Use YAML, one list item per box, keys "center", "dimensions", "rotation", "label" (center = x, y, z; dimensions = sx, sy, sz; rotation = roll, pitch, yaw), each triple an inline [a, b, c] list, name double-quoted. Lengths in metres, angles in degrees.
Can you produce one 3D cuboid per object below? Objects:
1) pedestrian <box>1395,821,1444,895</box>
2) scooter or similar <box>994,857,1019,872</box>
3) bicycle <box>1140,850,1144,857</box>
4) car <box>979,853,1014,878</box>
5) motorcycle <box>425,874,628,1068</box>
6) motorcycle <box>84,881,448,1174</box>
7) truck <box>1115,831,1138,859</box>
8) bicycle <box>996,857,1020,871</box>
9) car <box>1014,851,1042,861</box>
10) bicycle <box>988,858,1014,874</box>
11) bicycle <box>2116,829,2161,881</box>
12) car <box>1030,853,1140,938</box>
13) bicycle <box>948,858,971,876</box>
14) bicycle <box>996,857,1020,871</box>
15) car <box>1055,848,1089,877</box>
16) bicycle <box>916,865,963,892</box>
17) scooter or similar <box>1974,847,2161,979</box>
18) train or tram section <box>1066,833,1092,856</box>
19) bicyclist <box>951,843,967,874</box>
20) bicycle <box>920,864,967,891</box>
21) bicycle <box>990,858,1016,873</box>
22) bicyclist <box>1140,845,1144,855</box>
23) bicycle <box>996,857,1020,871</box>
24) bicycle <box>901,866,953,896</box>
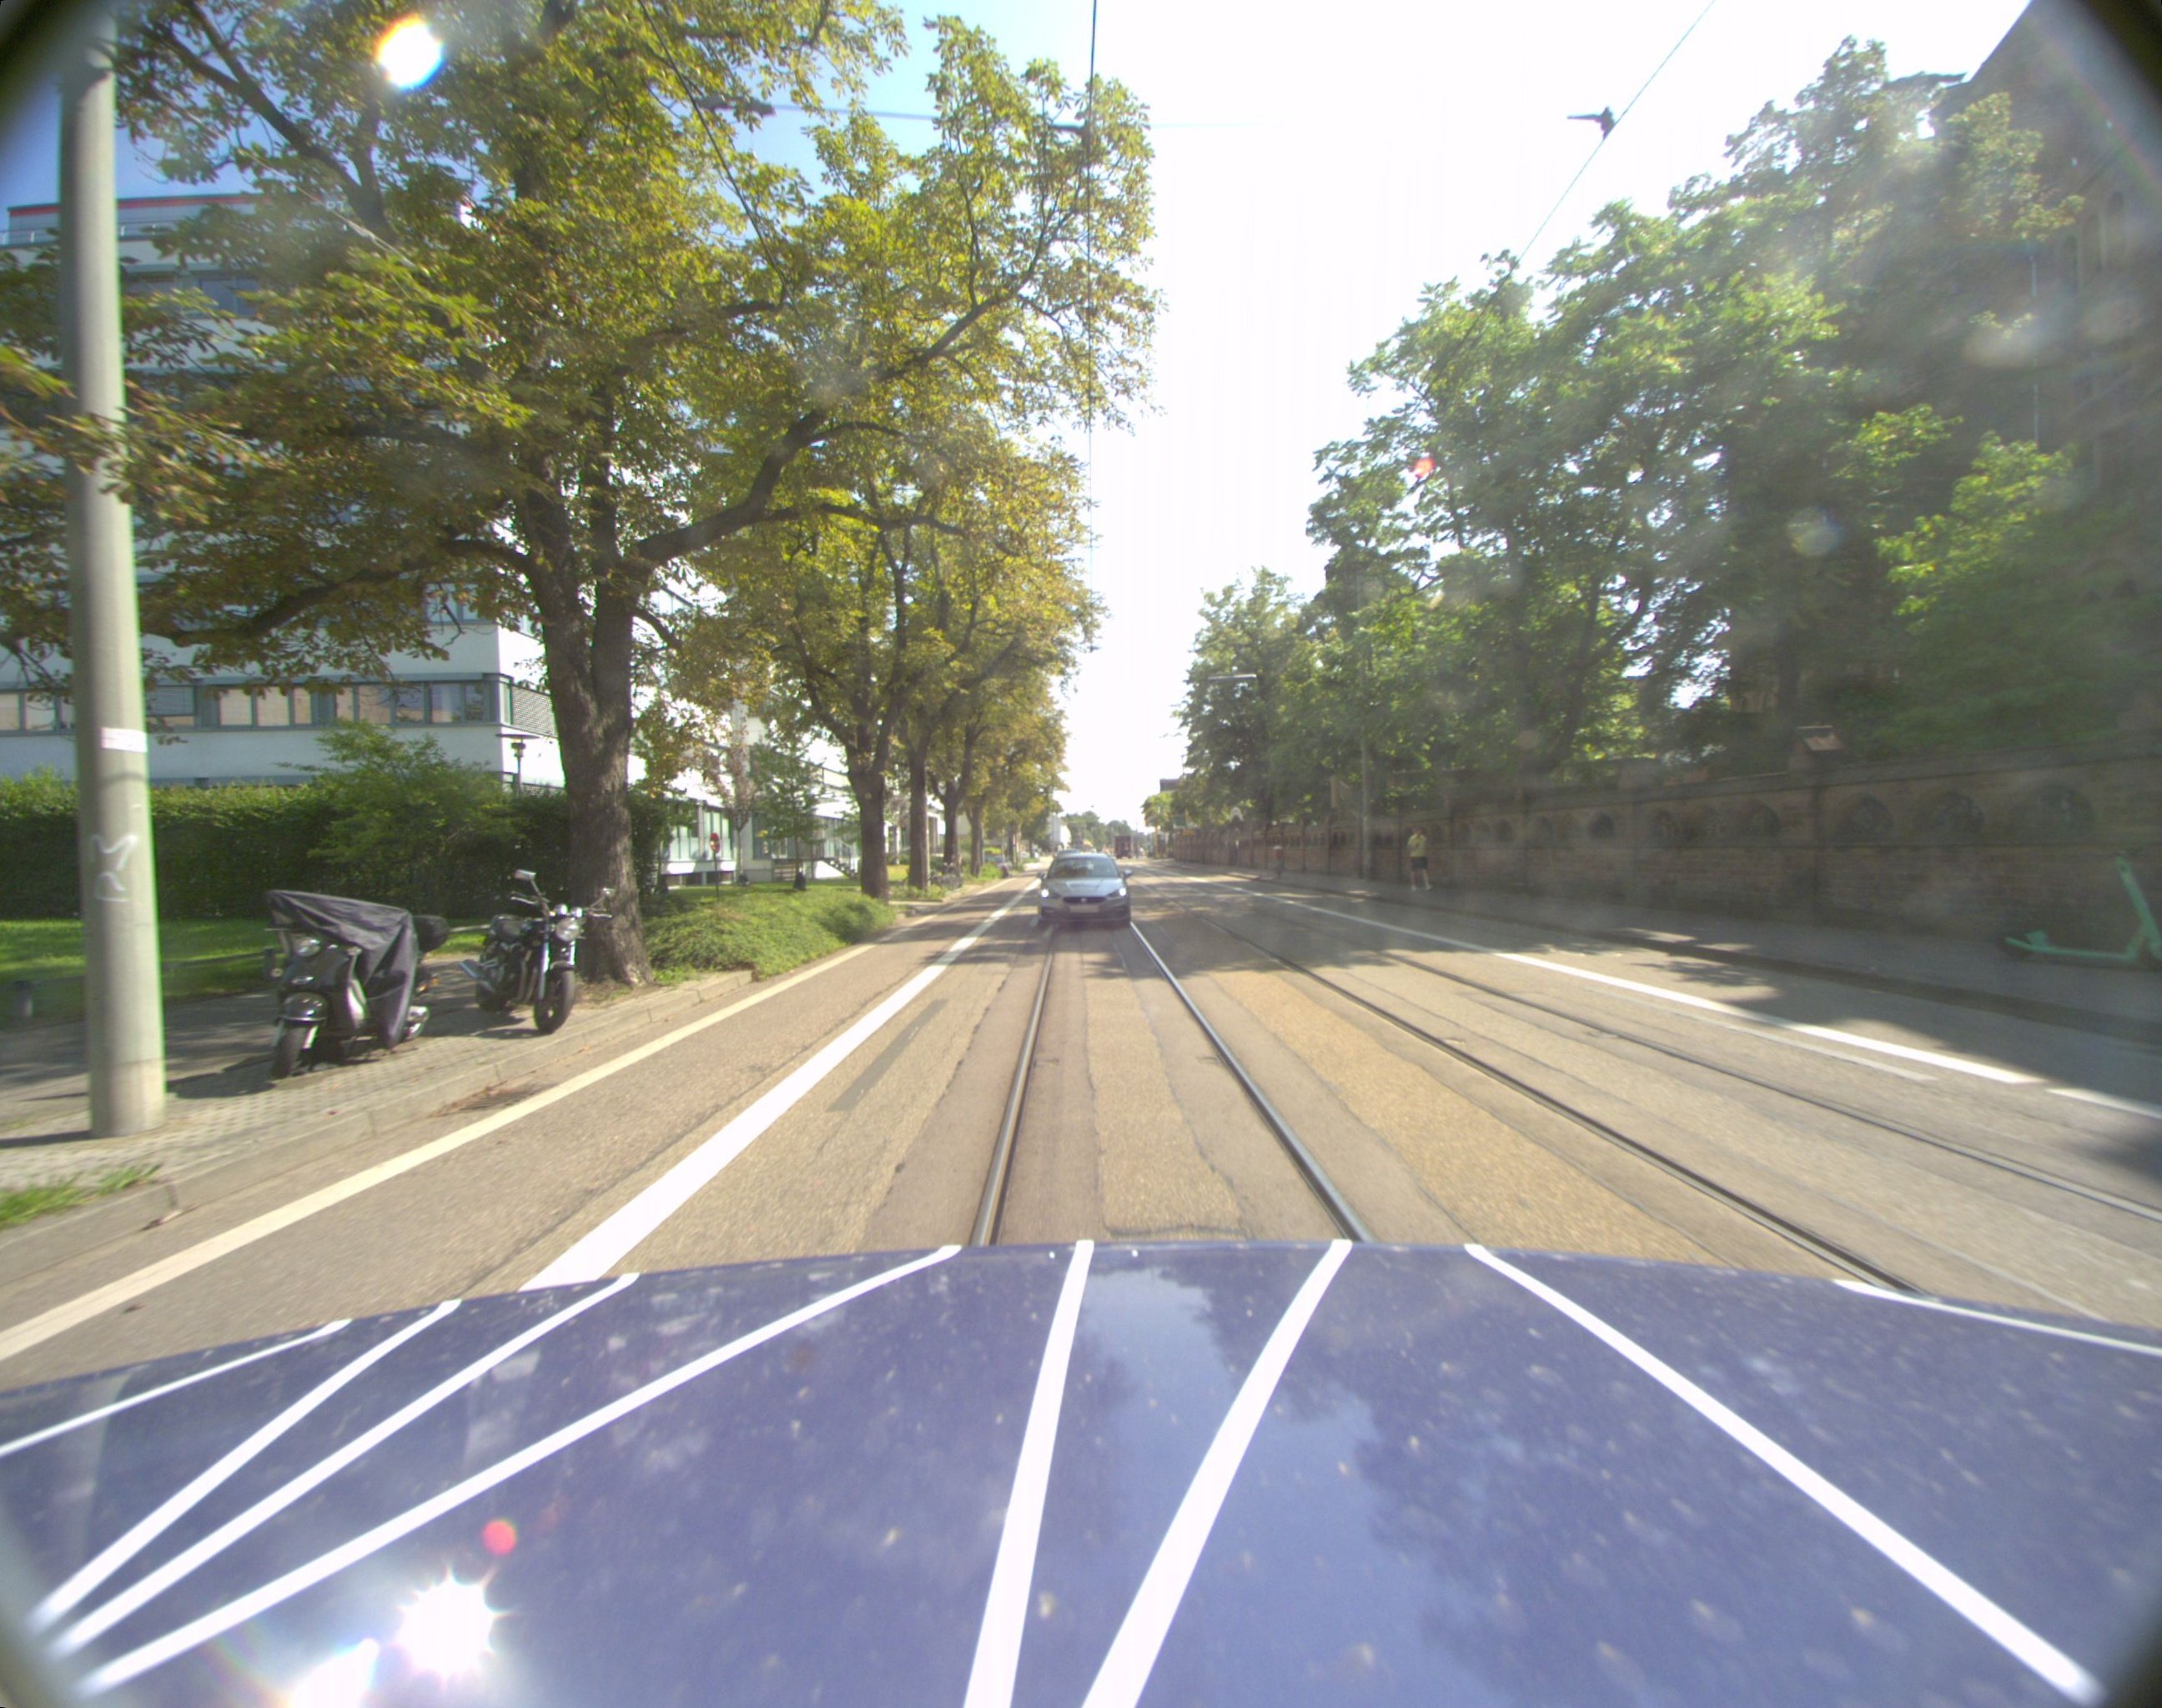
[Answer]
- center: [9.566, 0.102, 21.498]
  dimensions: [0.866, 2.002, 0.983]
  rotation: [-2, 1, -2]
  label: "pedestrian"
- center: [-5.638, 0.783, 57.578]
  dimensions: [1.776, 1.065, 0.540]
  rotation: [-1, 1, -1]
  label: "scooter or similar"
- center: [12.233, -0.131, 152.388]
  dimensions: [0.787, 1.233, 2.034]
  rotation: [-4, 1, 4]
  label: "bicycle"
- center: [-5.310, 0.681, 48.350]
  dimensions: [1.760, 1.453, 4.274]
  rotation: [-1, 0, 0]
  label: "car"
- center: [-5.273, 0.973, 7.155]
  dimensions: [2.448, 1.507, 0.854]
  rotation: [-1, 1, 38]
  label: "motorcycle"
- center: [-5.537, 0.999, 5.455]
  dimensions: [0.854, 1.507, 2.450]
  rotation: [-3, 1, -25]
  label: "motorcycle"
- center: [7.889, -1.502, 129.943]
  dimensions: [3.171, 4.427, 16.845]
  rotation: [-2, 1, 6]
  label: "truck"
- center: [-5.745, 0.764, 59.789]
  dimensions: [1.776, 1.065, 0.540]
  rotation: [-1, 1, -1]
  label: "bicycle"
- center: [-8.726, 0.336, 125.215]
  dimensions: [4.552, 1.506, 1.960]
  rotation: [-2, 1, -5]
  label: "car"
- center: [-5.583, 0.825, 53.307]
  dimensions: [1.776, 1.065, 0.540]
  rotation: [-1, 1, -1]
  label: "bicycle"
- center: [24.335, -0.005, 16.125]
  dimensions: [2.681, 1.090, 0.902]
  rotation: [-2, 1, 29]
  label: "bicycle"
- center: [0.052, 0.741, 16.096]
  dimensions: [1.928, 1.465, 4.816]
  rotation: [-2, 0, -1]
  label: "car"
- center: [-8.050, 0.848, 50.470]
  dimensions: [1.138, 1.118, 2.536]
  rotation: [-2, 1, -2]
  label: "bicycle"
- center: [-5.734, 0.764, 59.811]
  dimensions: [1.776, 1.065, 0.540]
  rotation: [-1, 1, -1]
  label: "bicycle"
- center: [-0.528, 0.458, 43.877]
  dimensions: [1.834, 1.543, 4.032]
  rotation: [-2, 1, -1]
  label: "car"
- center: [-5.603, 0.956, 30.106]
  dimensions: [1.776, 1.044, 0.540]
  rotation: [-1, 1, -1]
  label: "bicycle"
- center: [9.726, 0.524, 7.372]
  dimensions: [0.422, 1.172, 1.315]
  rotation: [-2, 1, -16]
  label: "scooter or similar"
- center: [-0.193, -1.720, 141.396]
  dimensions: [4.111, 3.711, 24.376]
  rotation: [-2, 1, 1]
  label: "train or tram section"
- center: [-8.074, 0.285, 50.364]
  dimensions: [0.783, 2.002, 1.274]
  rotation: [-2, 1, -3]
  label: "bicyclist"
- center: [-5.560, 0.948, 30.784]
  dimensions: [1.776, 1.044, 0.540]
  rotation: [-1, 1, -1]
  label: "bicycle"
- center: [-5.586, 0.814, 54.409]
  dimensions: [1.776, 1.065, 0.540]
  rotation: [-1, 1, -1]
  label: "bicycle"
- center: [12.190, -0.858, 152.415]
  dimensions: [0.642, 1.918, 1.175]
  rotation: [-2, 1, 3]
  label: "bicyclist"
- center: [-5.700, 0.769, 59.211]
  dimensions: [1.776, 1.065, 0.540]
  rotation: [-1, 1, -1]
  label: "bicycle"
- center: [-5.578, 0.981, 27.627]
  dimensions: [1.776, 1.044, 0.540]
  rotation: [-1, 1, -1]
  label: "bicycle"
